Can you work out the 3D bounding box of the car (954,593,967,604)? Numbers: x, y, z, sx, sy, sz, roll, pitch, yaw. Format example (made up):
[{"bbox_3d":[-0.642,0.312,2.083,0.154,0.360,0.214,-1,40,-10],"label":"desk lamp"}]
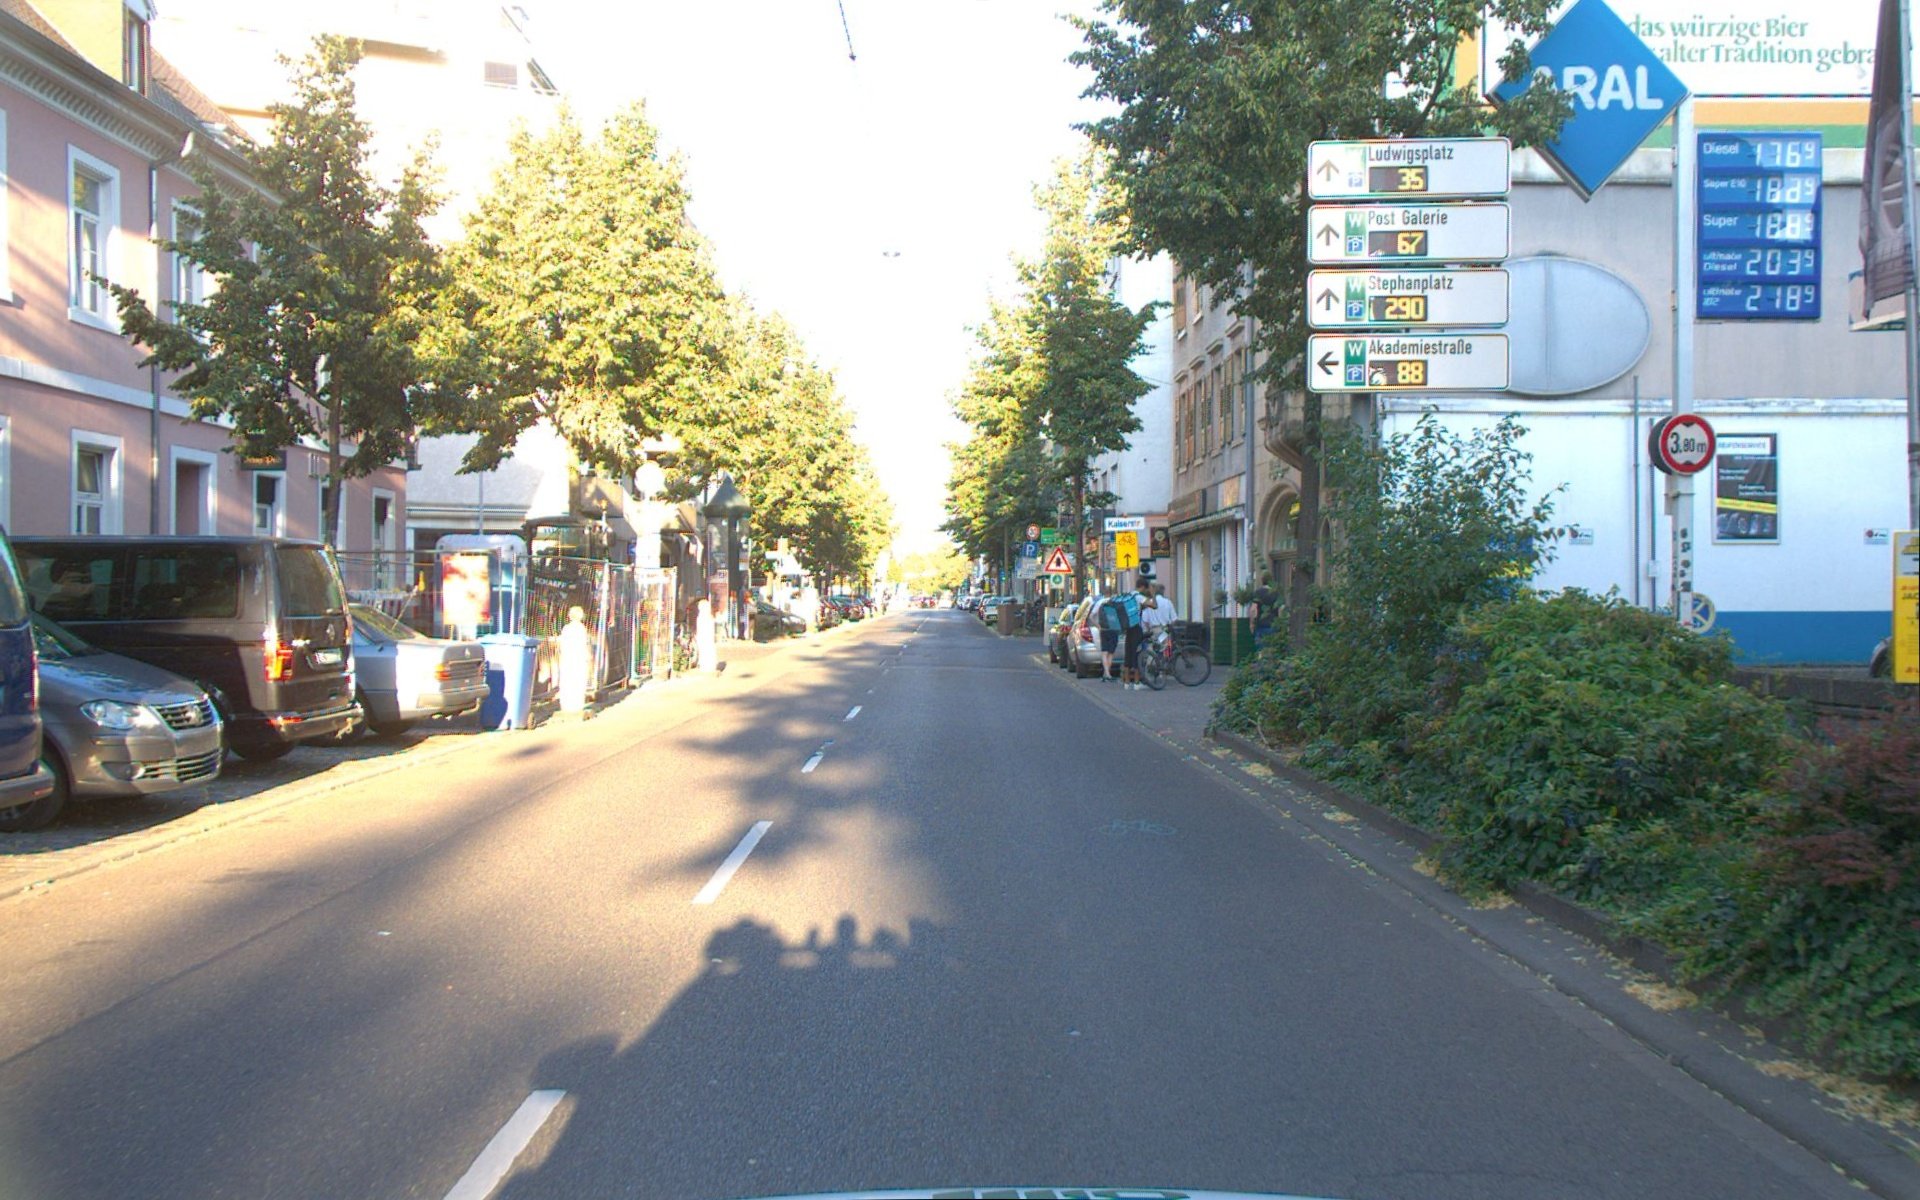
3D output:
[{"bbox_3d":[0.058,-0.196,222.159,1.716,1.567,3.304,0,0,0],"label":"car"}]

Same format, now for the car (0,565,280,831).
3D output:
[{"bbox_3d":[-7.108,0.587,11.386,4.045,1.665,1.860,1,0,0],"label":"car"}]

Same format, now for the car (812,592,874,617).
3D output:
[{"bbox_3d":[-8.439,0.318,119.769,4.351,1.790,1.919,1,0,0],"label":"car"}]

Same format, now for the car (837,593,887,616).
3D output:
[{"bbox_3d":[-8.752,0.413,147.571,4.351,1.994,1.919,1,0,0],"label":"car"}]

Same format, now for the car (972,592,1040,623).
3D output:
[{"bbox_3d":[2.517,0.403,90.291,1.645,1.616,3.800,1,0,42],"label":"car"}]

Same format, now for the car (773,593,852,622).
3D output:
[{"bbox_3d":[-8.531,0.415,95.872,4.351,1.595,1.919,1,0,0],"label":"car"}]

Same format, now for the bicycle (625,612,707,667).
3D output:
[{"bbox_3d":[-6.340,0.852,35.699,1.647,1.097,0.445,2,-1,7],"label":"bicycle"}]

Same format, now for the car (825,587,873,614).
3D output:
[{"bbox_3d":[-10.551,0.057,157.189,4.351,2.477,1.919,1,0,0],"label":"car"}]

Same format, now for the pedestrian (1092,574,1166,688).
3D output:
[{"bbox_3d":[2.846,0.511,27.924,0.995,1.857,0.778,-2,0,-11],"label":"pedestrian"}]

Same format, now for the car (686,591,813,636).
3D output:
[{"bbox_3d":[-7.738,0.499,61.065,4.454,1.568,1.810,1,0,-2],"label":"car"}]

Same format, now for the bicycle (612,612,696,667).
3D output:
[{"bbox_3d":[-6.489,0.837,35.106,1.648,1.097,0.444,3,-1,-1],"label":"bicycle"}]

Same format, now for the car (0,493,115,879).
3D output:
[{"bbox_3d":[-7.195,0.431,8.718,4.391,2.010,2.068,0,0,0],"label":"car"}]

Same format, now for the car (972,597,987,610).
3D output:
[{"bbox_3d":[2.011,0.374,169.867,1.482,1.298,3.304,0,0,0],"label":"car"}]

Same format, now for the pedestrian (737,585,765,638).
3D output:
[{"bbox_3d":[-6.828,0.380,53.952,0.695,1.716,0.834,0,0,8],"label":"pedestrian"}]

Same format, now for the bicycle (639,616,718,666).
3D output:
[{"bbox_3d":[-6.294,0.908,37.010,1.647,1.039,0.445,2,-1,7],"label":"bicycle"}]

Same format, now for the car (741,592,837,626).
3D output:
[{"bbox_3d":[-8.175,0.430,79.300,4.351,1.532,1.844,1,0,0],"label":"car"}]

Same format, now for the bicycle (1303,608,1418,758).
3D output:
[{"bbox_3d":[3.474,0.688,14.262,0.473,1.163,1.678,-3,0,29],"label":"bicycle"}]

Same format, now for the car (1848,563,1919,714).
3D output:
[{"bbox_3d":[10.074,0.336,14.650,1.699,1.456,4.907,-1,-1,-1],"label":"car"}]

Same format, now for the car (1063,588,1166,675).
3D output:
[{"bbox_3d":[3.102,0.596,33.836,1.652,1.602,4.012,-3,0,0],"label":"car"}]

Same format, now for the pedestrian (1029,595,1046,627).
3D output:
[{"bbox_3d":[3.436,0.469,73.602,0.711,1.402,0.781,0,0,-1],"label":"pedestrian"}]

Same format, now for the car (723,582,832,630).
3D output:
[{"bbox_3d":[-7.857,0.272,71.540,4.478,1.996,1.990,1,0,-1],"label":"car"}]

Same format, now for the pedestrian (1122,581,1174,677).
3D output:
[{"bbox_3d":[3.514,0.540,30.962,0.666,1.735,0.822,-2,0,-15],"label":"pedestrian"}]

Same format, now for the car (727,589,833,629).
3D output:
[{"bbox_3d":[-8.024,0.399,74.156,4.478,1.727,2.060,1,0,0],"label":"car"}]

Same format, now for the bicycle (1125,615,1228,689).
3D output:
[{"bbox_3d":[3.667,0.865,27.914,0.850,1.118,1.918,-2,1,38],"label":"bicycle"}]

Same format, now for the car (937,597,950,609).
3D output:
[{"bbox_3d":[-2.128,0.399,217.943,1.685,1.501,3.304,0,0,0],"label":"car"}]

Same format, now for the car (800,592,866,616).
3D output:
[{"bbox_3d":[-8.690,0.267,113.265,4.351,1.549,1.919,1,0,0],"label":"car"}]

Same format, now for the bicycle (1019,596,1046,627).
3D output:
[{"bbox_3d":[2.936,0.459,66.961,0.585,1.198,1.847,0,0,19],"label":"bicycle"}]

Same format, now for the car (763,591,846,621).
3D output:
[{"bbox_3d":[-8.545,0.338,91.158,4.351,1.595,1.919,1,0,0],"label":"car"}]

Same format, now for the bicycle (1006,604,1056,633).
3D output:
[{"bbox_3d":[2.808,0.730,65.498,1.918,1.092,0.704,0,0,31],"label":"bicycle"}]

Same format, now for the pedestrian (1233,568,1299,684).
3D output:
[{"bbox_3d":[5.150,0.422,27.866,0.806,1.886,1.097,-2,0,-2],"label":"pedestrian"}]

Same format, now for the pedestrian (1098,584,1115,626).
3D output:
[{"bbox_3d":[5.803,0.208,65.468,0.555,1.627,0.663,-1,1,-1],"label":"pedestrian"}]

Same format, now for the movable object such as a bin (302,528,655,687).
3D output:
[{"bbox_3d":[-8.403,0.107,29.364,2.273,2.539,5.719,0,0,42],"label":"movable object such as a bin"}]

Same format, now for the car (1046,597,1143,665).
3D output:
[{"bbox_3d":[3.046,0.669,38.309,1.749,1.399,4.523,-3,0,-1],"label":"car"}]

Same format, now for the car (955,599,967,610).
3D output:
[{"bbox_3d":[0.122,0.565,210.685,1.482,1.321,3.304,0,0,0],"label":"car"}]

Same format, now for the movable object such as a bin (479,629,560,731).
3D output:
[{"bbox_3d":[-5.104,0.919,19.203,0.675,1.124,0.883,-1,0,1],"label":"movable object such as a bin"}]

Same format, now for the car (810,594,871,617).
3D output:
[{"bbox_3d":[-8.496,0.387,117.666,4.216,1.626,1.919,1,0,0],"label":"car"}]

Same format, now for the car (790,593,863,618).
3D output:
[{"bbox_3d":[-8.243,0.355,102.397,4.351,1.474,1.919,1,0,0],"label":"car"}]

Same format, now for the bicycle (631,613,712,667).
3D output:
[{"bbox_3d":[-6.322,0.868,36.286,1.647,1.097,0.445,2,-1,7],"label":"bicycle"}]

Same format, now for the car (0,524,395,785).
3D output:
[{"bbox_3d":[-7.297,0.407,13.914,4.394,2.010,1.964,1,0,-3],"label":"car"}]

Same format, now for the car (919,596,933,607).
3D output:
[{"bbox_3d":[-4.687,0.199,227.821,1.716,1.567,3.304,0,0,0],"label":"car"}]

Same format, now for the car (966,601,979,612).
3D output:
[{"bbox_3d":[1.393,0.766,188.023,1.482,1.285,3.304,0,0,0],"label":"car"}]

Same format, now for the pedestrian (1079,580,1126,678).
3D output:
[{"bbox_3d":[2.647,0.533,30.785,0.665,1.785,0.823,-1,0,-11],"label":"pedestrian"}]

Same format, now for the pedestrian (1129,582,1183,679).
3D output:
[{"bbox_3d":[3.581,0.550,30.254,0.648,1.730,0.657,-3,0,-45],"label":"pedestrian"}]

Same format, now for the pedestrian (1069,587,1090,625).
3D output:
[{"bbox_3d":[5.178,0.266,71.648,0.779,1.654,0.913,0,0,12],"label":"pedestrian"}]

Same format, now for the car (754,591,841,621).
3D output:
[{"bbox_3d":[-8.431,0.326,86.173,4.351,1.484,1.859,1,0,0],"label":"car"}]

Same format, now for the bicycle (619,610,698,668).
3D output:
[{"bbox_3d":[-6.237,0.815,34.218,1.530,1.136,0.439,3,-1,-34],"label":"bicycle"}]

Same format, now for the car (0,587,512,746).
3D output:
[{"bbox_3d":[-7.174,0.643,17.152,4.498,1.495,1.893,1,0,2],"label":"car"}]

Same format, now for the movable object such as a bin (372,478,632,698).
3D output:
[{"bbox_3d":[-6.801,-0.173,25.327,2.571,3.021,5.302,0,0,-1],"label":"movable object such as a bin"}]

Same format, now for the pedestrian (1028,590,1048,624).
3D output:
[{"bbox_3d":[4.516,0.417,96.110,0.900,1.959,1.015,1,0,-11],"label":"pedestrian"}]
